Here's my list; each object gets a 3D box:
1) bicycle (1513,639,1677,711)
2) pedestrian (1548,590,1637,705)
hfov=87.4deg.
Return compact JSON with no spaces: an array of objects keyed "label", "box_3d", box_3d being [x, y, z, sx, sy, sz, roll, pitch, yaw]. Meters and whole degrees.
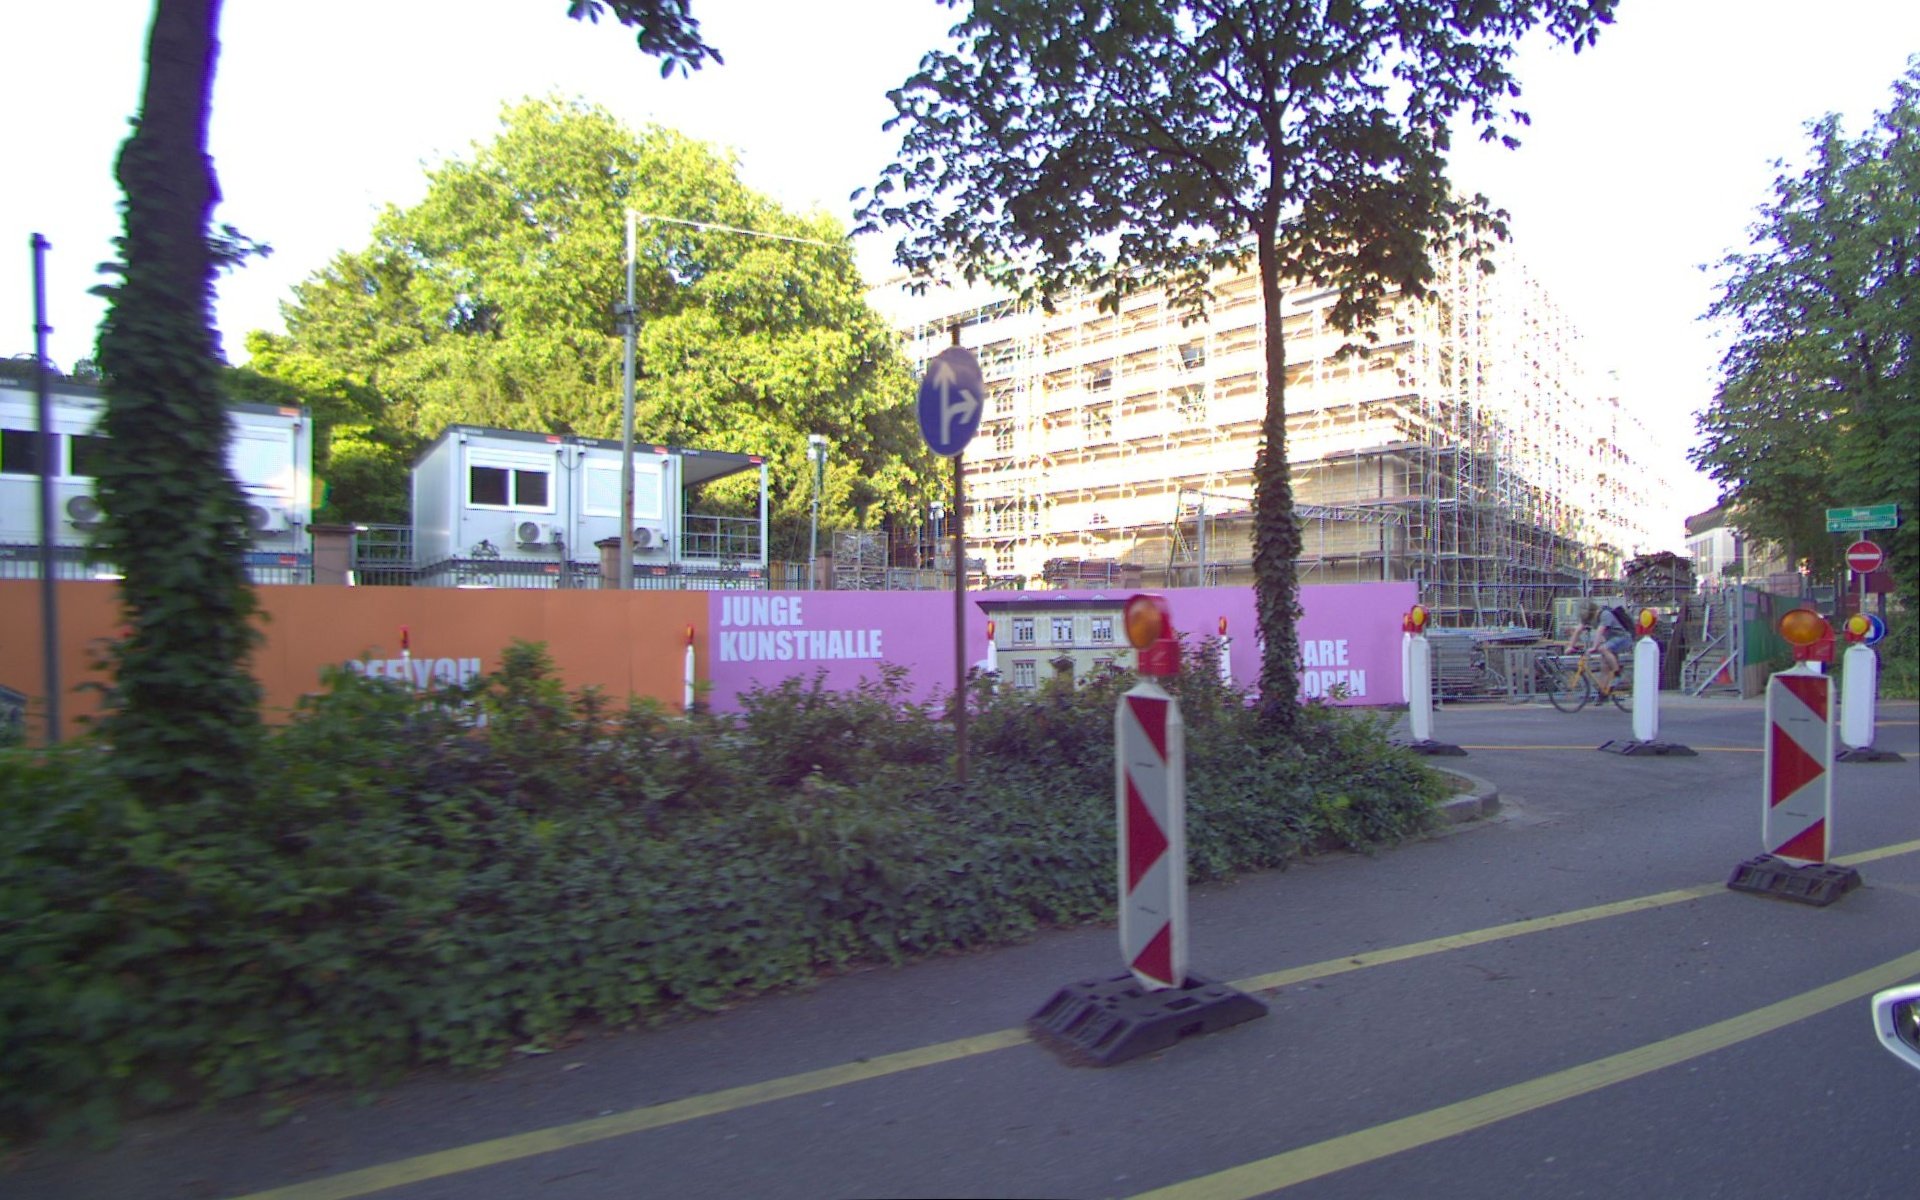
[{"label":"bicycle","box_3d":[9.672,1.130,15.335,2.080,1.051,0.763,0,-1,-5]},{"label":"pedestrian","box_3d":[9.644,0.715,15.345,0.878,1.696,0.737,0,-1,-5]}]
